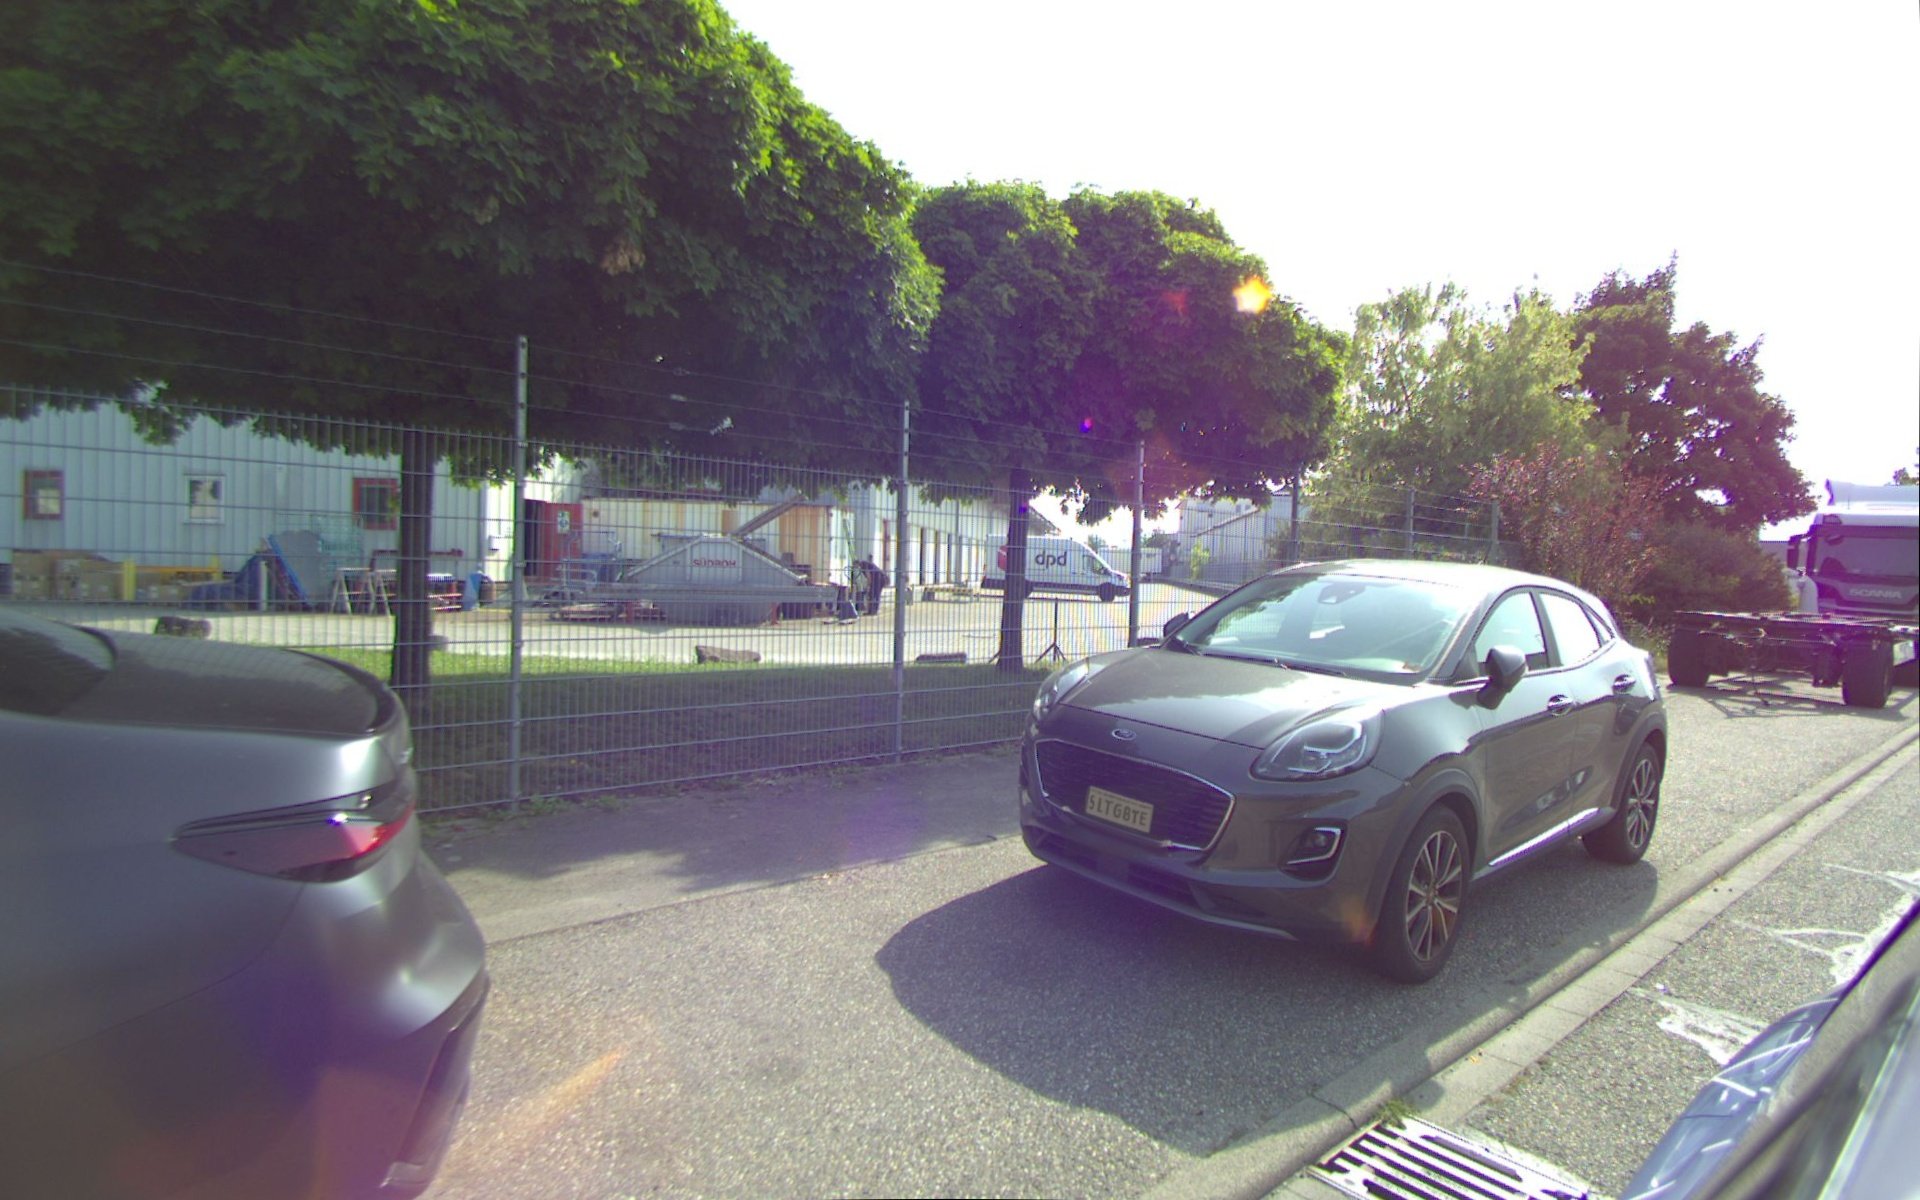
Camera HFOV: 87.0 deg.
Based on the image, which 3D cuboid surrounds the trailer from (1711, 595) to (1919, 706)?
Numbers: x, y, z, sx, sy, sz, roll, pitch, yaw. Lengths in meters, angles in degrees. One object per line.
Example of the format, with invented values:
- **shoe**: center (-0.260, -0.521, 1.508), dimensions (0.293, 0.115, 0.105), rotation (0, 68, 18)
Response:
- **trailer**: center (13.879, 0.635, 15.839), dimensions (7.323, 1.250, 1.943), rotation (0, 4, -42)

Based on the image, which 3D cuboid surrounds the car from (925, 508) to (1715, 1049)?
- **car**: center (2.009, 0.455, 5.034), dimensions (4.041, 1.592, 1.885), rotation (-1, 5, -41)

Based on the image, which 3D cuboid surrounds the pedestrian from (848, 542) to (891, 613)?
- **pedestrian**: center (-2.291, -0.569, 25.633), dimensions (0.847, 1.743, 0.628), rotation (2, 1, 18)

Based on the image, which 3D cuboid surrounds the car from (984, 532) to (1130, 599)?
- **car**: center (4.257, -1.539, 44.416), dimensions (6.170, 2.681, 2.208), rotation (2, 2, 9)

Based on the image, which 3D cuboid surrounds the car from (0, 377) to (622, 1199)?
- **car**: center (-3.103, 0.479, 0.816), dimensions (5.028, 1.593, 1.885), rotation (-1, 4, -40)

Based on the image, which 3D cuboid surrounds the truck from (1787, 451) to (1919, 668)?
- **truck**: center (19.657, -0.791, 21.079), dimensions (5.945, 4.011, 2.697), rotation (0, 4, -43)
